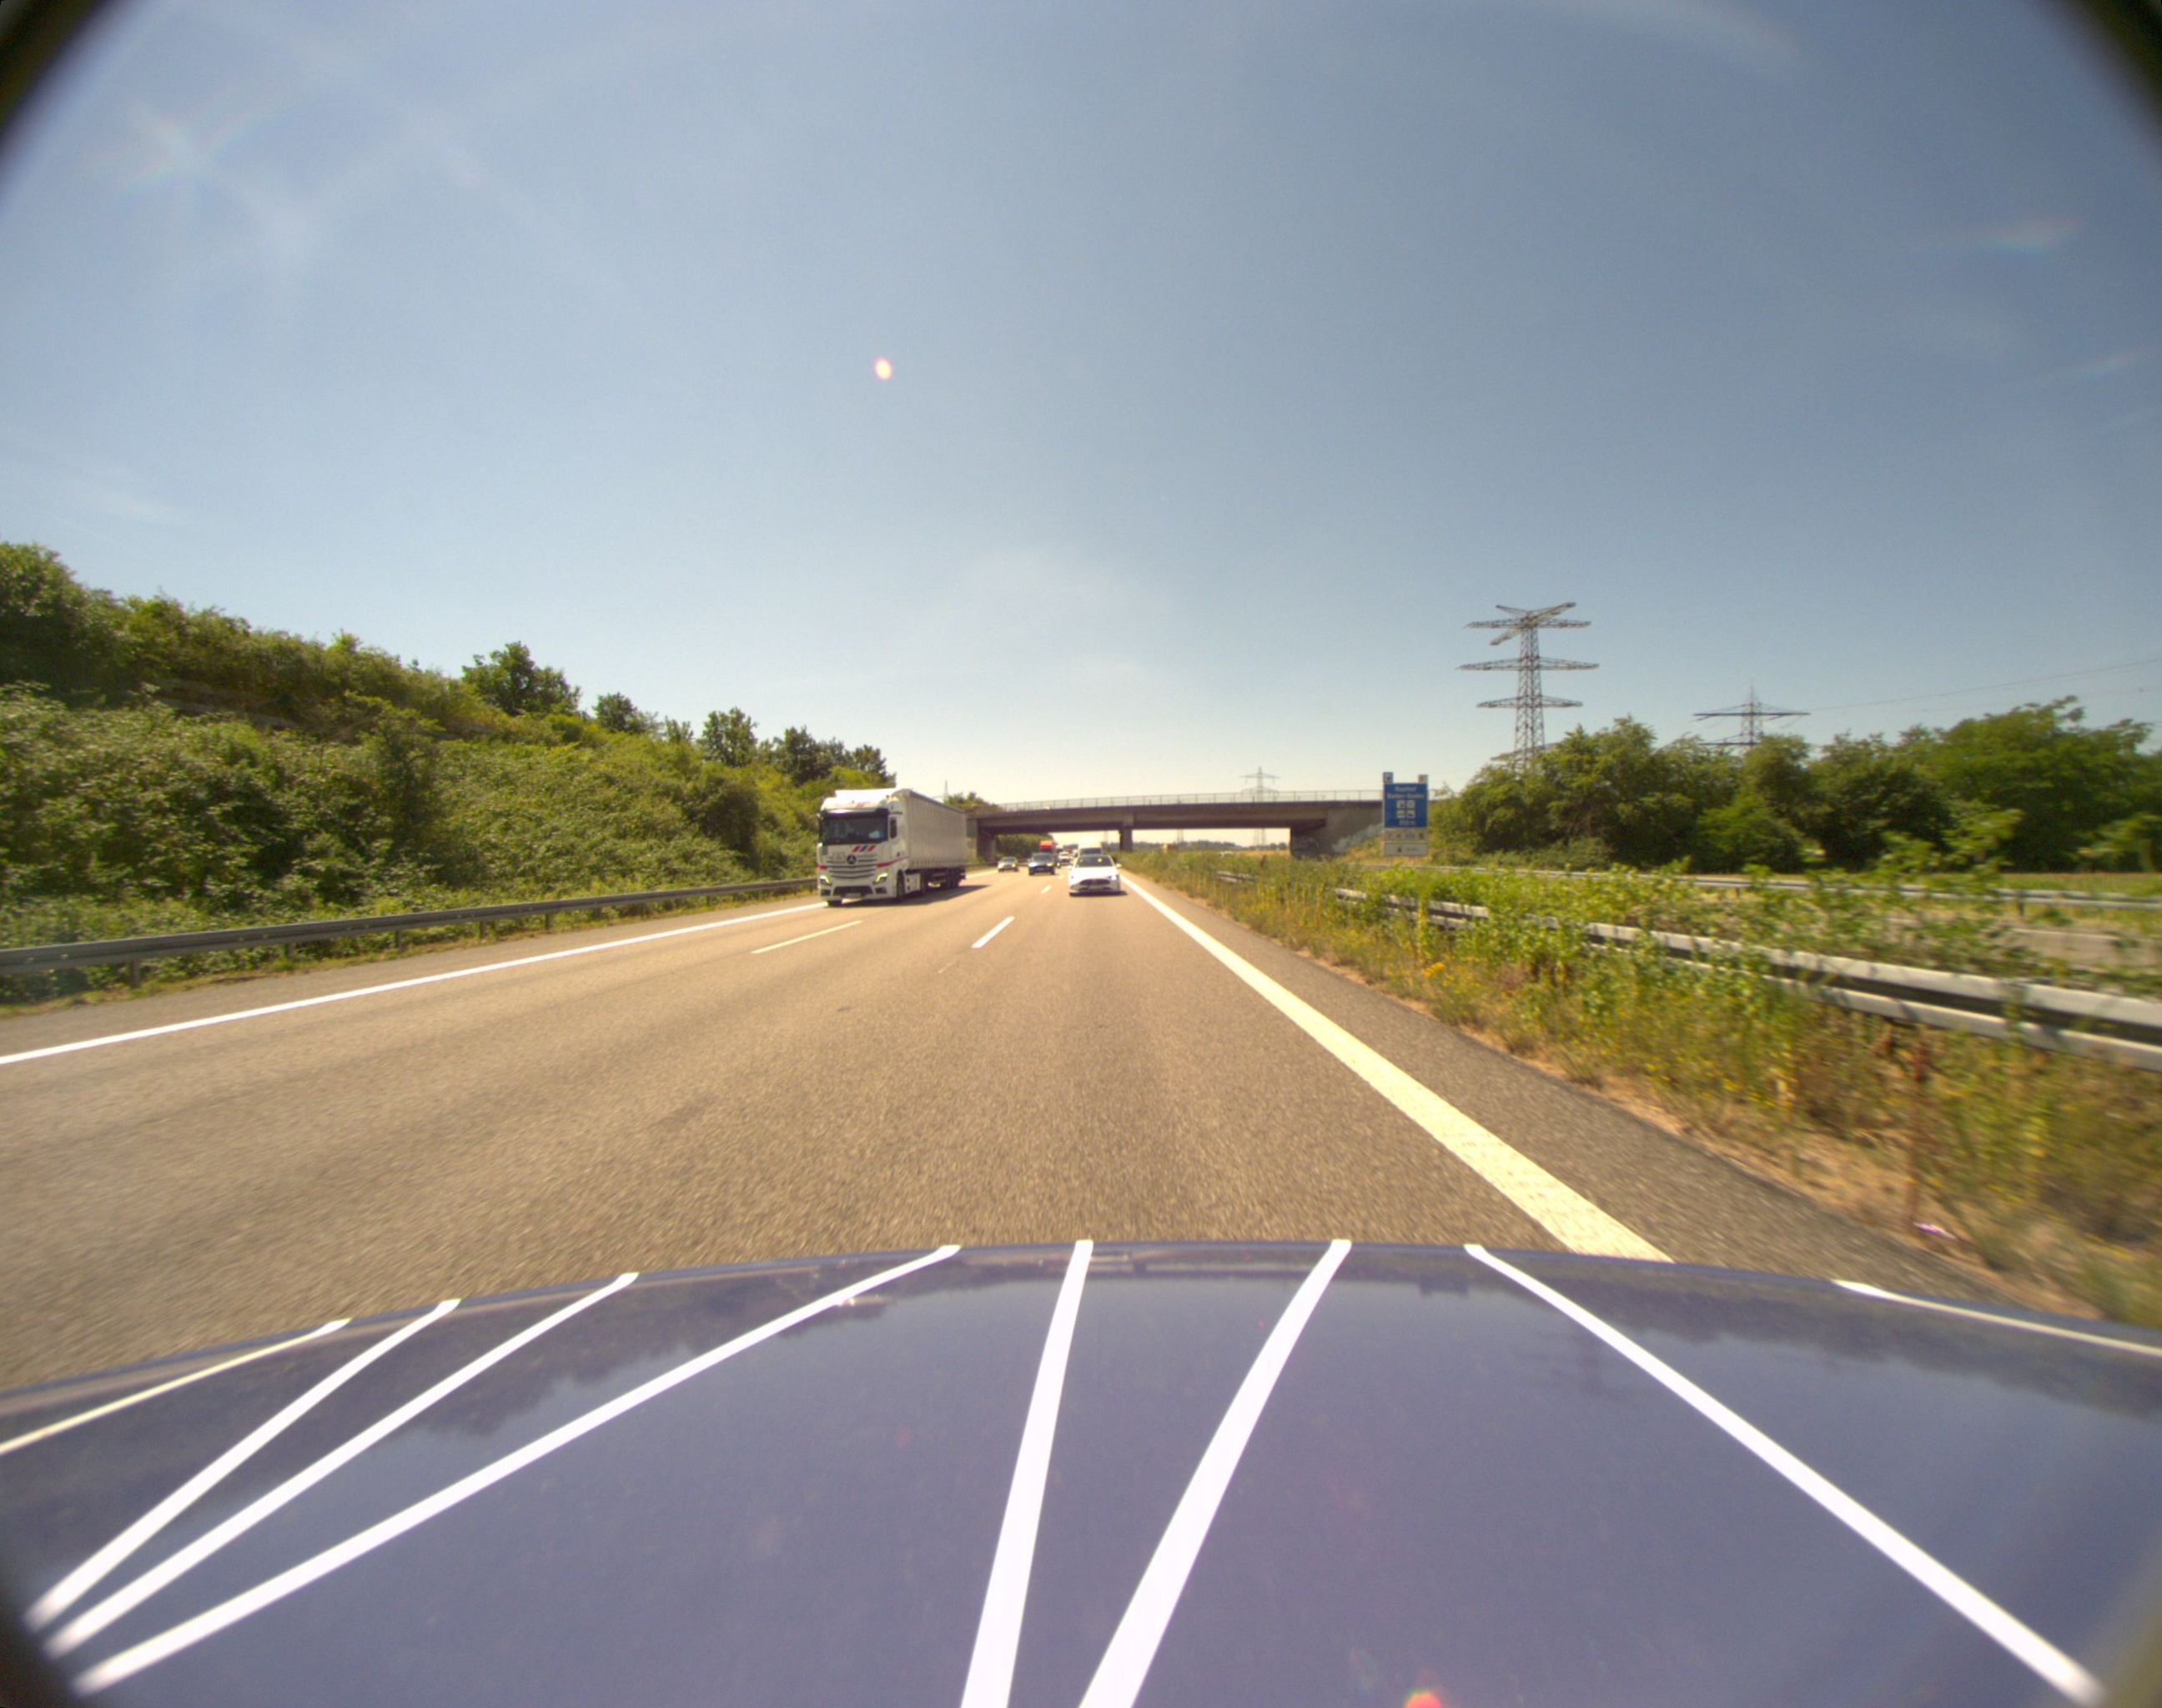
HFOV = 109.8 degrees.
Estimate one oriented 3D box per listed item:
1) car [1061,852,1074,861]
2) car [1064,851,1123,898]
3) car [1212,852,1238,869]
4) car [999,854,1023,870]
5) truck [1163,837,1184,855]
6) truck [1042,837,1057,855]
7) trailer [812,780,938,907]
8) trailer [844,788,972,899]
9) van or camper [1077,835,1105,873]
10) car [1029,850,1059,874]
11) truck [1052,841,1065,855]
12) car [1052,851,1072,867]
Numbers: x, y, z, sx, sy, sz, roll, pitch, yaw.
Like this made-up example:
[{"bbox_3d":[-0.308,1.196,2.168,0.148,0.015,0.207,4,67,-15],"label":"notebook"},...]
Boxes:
[{"bbox_3d":[-2.238,0.383,125.541,1.984,1.525,4.137,-1,0,0],"label":"car"},{"bbox_3d":[0.427,0.705,28.443,1.984,1.525,4.558,-3,0,0],"label":"car"},{"bbox_3d":[14.852,0.685,78.484,1.846,1.642,4.013,-2,0,0],"label":"car"},{"bbox_3d":[-6.730,0.710,73.327,1.840,1.403,4.558,-2,0,0],"label":"car"},{"bbox_3d":[20.053,-1.743,165.421,3.520,3.840,8.661,-2,0,1],"label":"truck"},{"bbox_3d":[-5.998,-1.538,145.591,2.581,3.204,5.712,-3,1,0],"label":"truck"},{"bbox_3d":[-7.373,-0.366,28.238,2.720,4.079,6.788,-1,1,0],"label":"trailer"},{"bbox_3d":[-7.356,-0.440,34.786,2.735,4.079,13.187,-1,0,0],"label":"trailer"},{"bbox_3d":[0.827,-0.046,58.964,1.998,2.741,5.410,-2,0,2],"label":"van or camper"},{"bbox_3d":[-2.740,0.590,57.621,1.984,1.671,4.558,-1,0,0],"label":"car"},{"bbox_3d":[-6.348,-1.789,212.857,3.507,3.891,9.646,-1,1,-1],"label":"truck"},{"bbox_3d":[-2.006,0.480,81.870,1.984,1.671,4.558,0,1,0],"label":"car"}]
